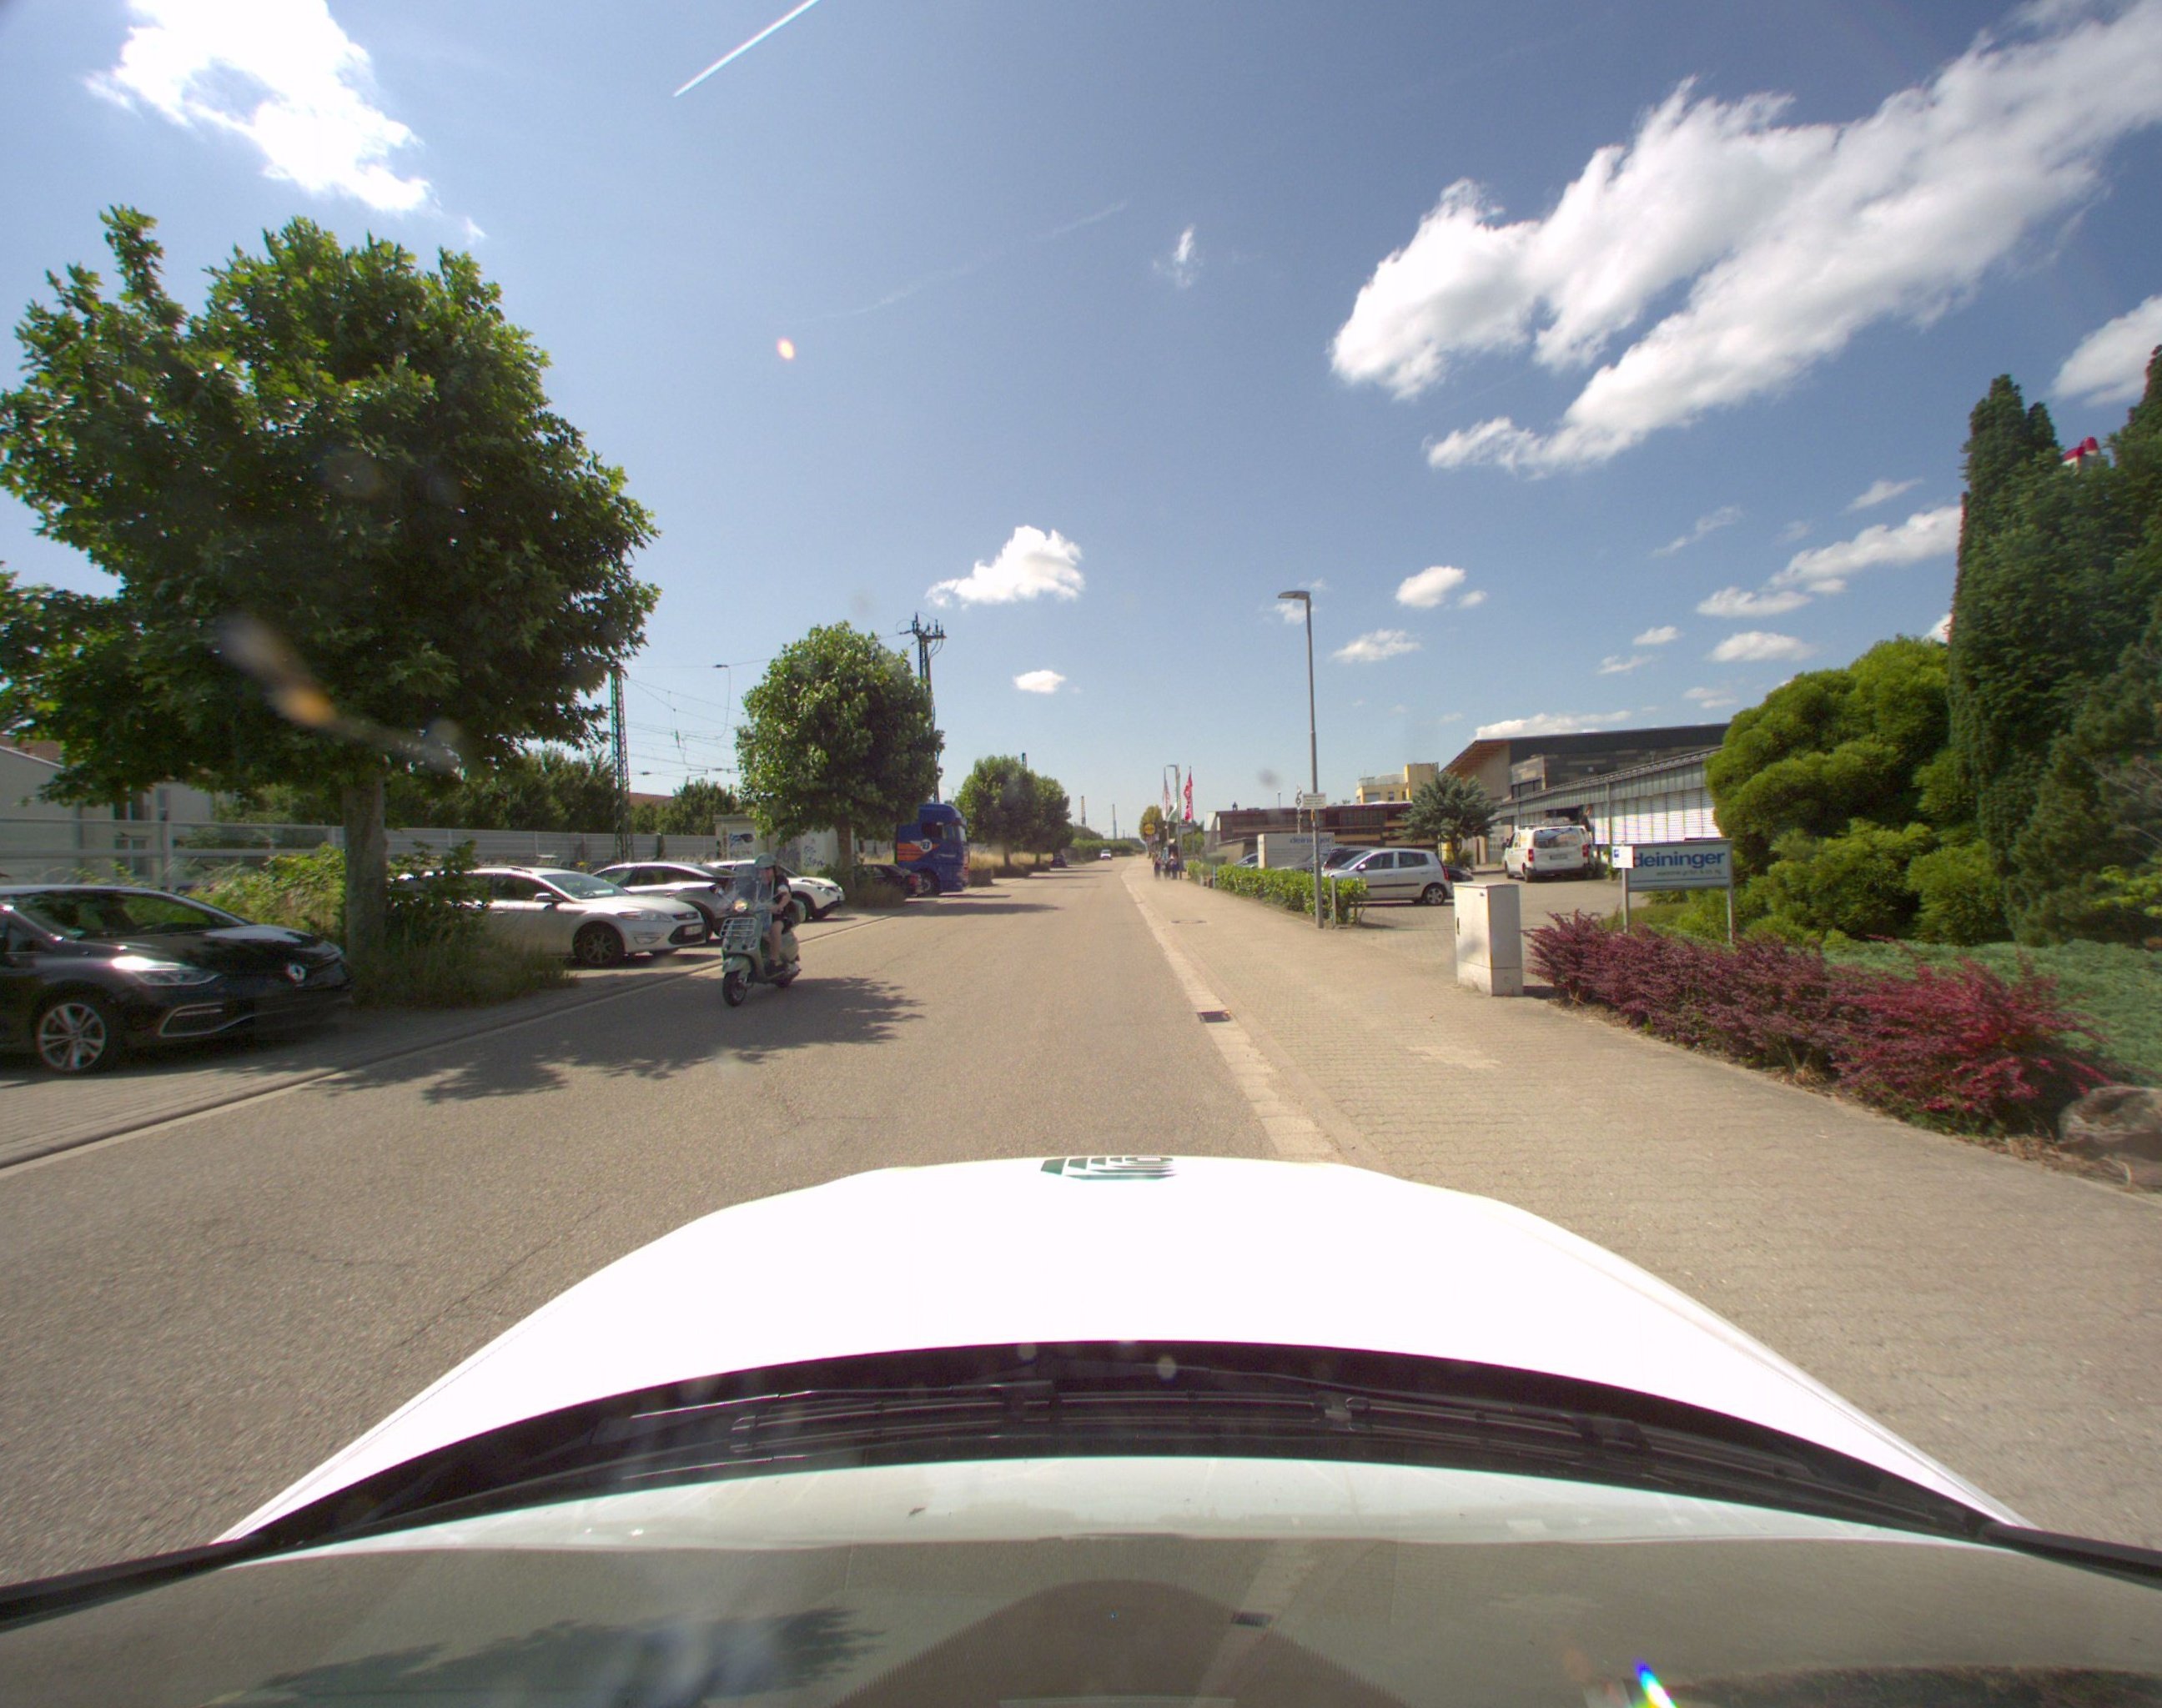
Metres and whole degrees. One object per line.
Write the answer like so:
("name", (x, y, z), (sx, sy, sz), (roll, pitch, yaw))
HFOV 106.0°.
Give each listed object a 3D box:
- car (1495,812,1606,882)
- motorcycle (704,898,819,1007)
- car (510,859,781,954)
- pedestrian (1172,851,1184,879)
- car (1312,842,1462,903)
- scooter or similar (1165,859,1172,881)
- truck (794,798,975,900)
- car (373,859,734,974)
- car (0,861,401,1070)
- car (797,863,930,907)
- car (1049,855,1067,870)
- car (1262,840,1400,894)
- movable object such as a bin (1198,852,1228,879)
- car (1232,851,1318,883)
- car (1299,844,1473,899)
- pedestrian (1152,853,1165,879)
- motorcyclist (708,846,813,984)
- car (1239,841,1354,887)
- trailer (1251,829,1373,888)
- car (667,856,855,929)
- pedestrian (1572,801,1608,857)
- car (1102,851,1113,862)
("car", (16.493, -0.237, 28.921), (2.085, 2.125, 4.735), (-5, -1, 14))
("motorcycle", (-3.676, 1.090, 9.544), (0.461, 1.051, 1.957), (-2, -1, 3))
("car", (-8.059, 0.927, 15.373), (3.974, 1.548, 2.000), (-2, 0, 0))
("pedestrian", (5.473, 0.634, 45.816), (0.533, 1.540, 0.511), (-3, -2, 1))
("car", (8.048, 0.480, 21.636), (3.337, 1.401, 1.772), (-3, 0, 5))
("scooter or similar", (4.937, 0.909, 45.988), (0.332, 1.198, 0.398), (-3, -2, 3))
("truck", (-7.890, -0.184, 33.317), (6.592, 3.823, 2.664), (-2, 0, 0))
("car", (-8.023, 0.909, 12.698), (4.321, 1.533, 1.927), (-2, 0, 1))
("car", (-8.602, 0.899, 6.964), (4.057, 1.472, 1.788), (-3, 0, 2))
("car", (-7.658, 1.075, 28.960), (4.195, 1.395, 1.872), (-2, 0, 0))
("car", (-2.549, 0.926, 92.000), (1.735, 1.596, 3.581), (-2, 0, 2))
("car", (8.363, 0.448, 27.451), (4.025, 1.574, 1.712), (-3, -2, -4))
("movable object such as a bin", (7.402, 0.616, 45.620), (1.273, 1.458, 1.038), (-1, 0, -35))
("car", (9.480, 0.616, 40.044), (3.829, 1.455, 1.819), (-2, 0, 3))
("car", (8.949, 0.499, 24.127), (4.462, 1.440, 1.814), (-2, 0, -2))
("pedestrian", (4.370, 0.696, 45.985), (0.592, 1.405, 0.584), (-3, -2, 1))
("motorcyclist", (-3.702, 0.678, 9.484), (0.772, 1.509, 0.922), (-2, 0, 3))
("car", (8.784, 0.421, 33.466), (4.198, 1.634, 1.801), (-3, -2, 0))
("trailer", (8.533, 0.161, 30.330), (3.973, 2.013, 2.000), (-2, 0, 0))
("car", (-7.985, 0.924, 20.609), (3.959, 1.618, 1.850), (-2, 0, -2))
("pedestrian", (18.341, -0.880, 29.368), (0.713, 1.943, 0.690), (-3, -2, 1))
("car", (4.851, 0.391, 148.812), (1.830, 1.858, 4.487), (-2, 0, 3))
